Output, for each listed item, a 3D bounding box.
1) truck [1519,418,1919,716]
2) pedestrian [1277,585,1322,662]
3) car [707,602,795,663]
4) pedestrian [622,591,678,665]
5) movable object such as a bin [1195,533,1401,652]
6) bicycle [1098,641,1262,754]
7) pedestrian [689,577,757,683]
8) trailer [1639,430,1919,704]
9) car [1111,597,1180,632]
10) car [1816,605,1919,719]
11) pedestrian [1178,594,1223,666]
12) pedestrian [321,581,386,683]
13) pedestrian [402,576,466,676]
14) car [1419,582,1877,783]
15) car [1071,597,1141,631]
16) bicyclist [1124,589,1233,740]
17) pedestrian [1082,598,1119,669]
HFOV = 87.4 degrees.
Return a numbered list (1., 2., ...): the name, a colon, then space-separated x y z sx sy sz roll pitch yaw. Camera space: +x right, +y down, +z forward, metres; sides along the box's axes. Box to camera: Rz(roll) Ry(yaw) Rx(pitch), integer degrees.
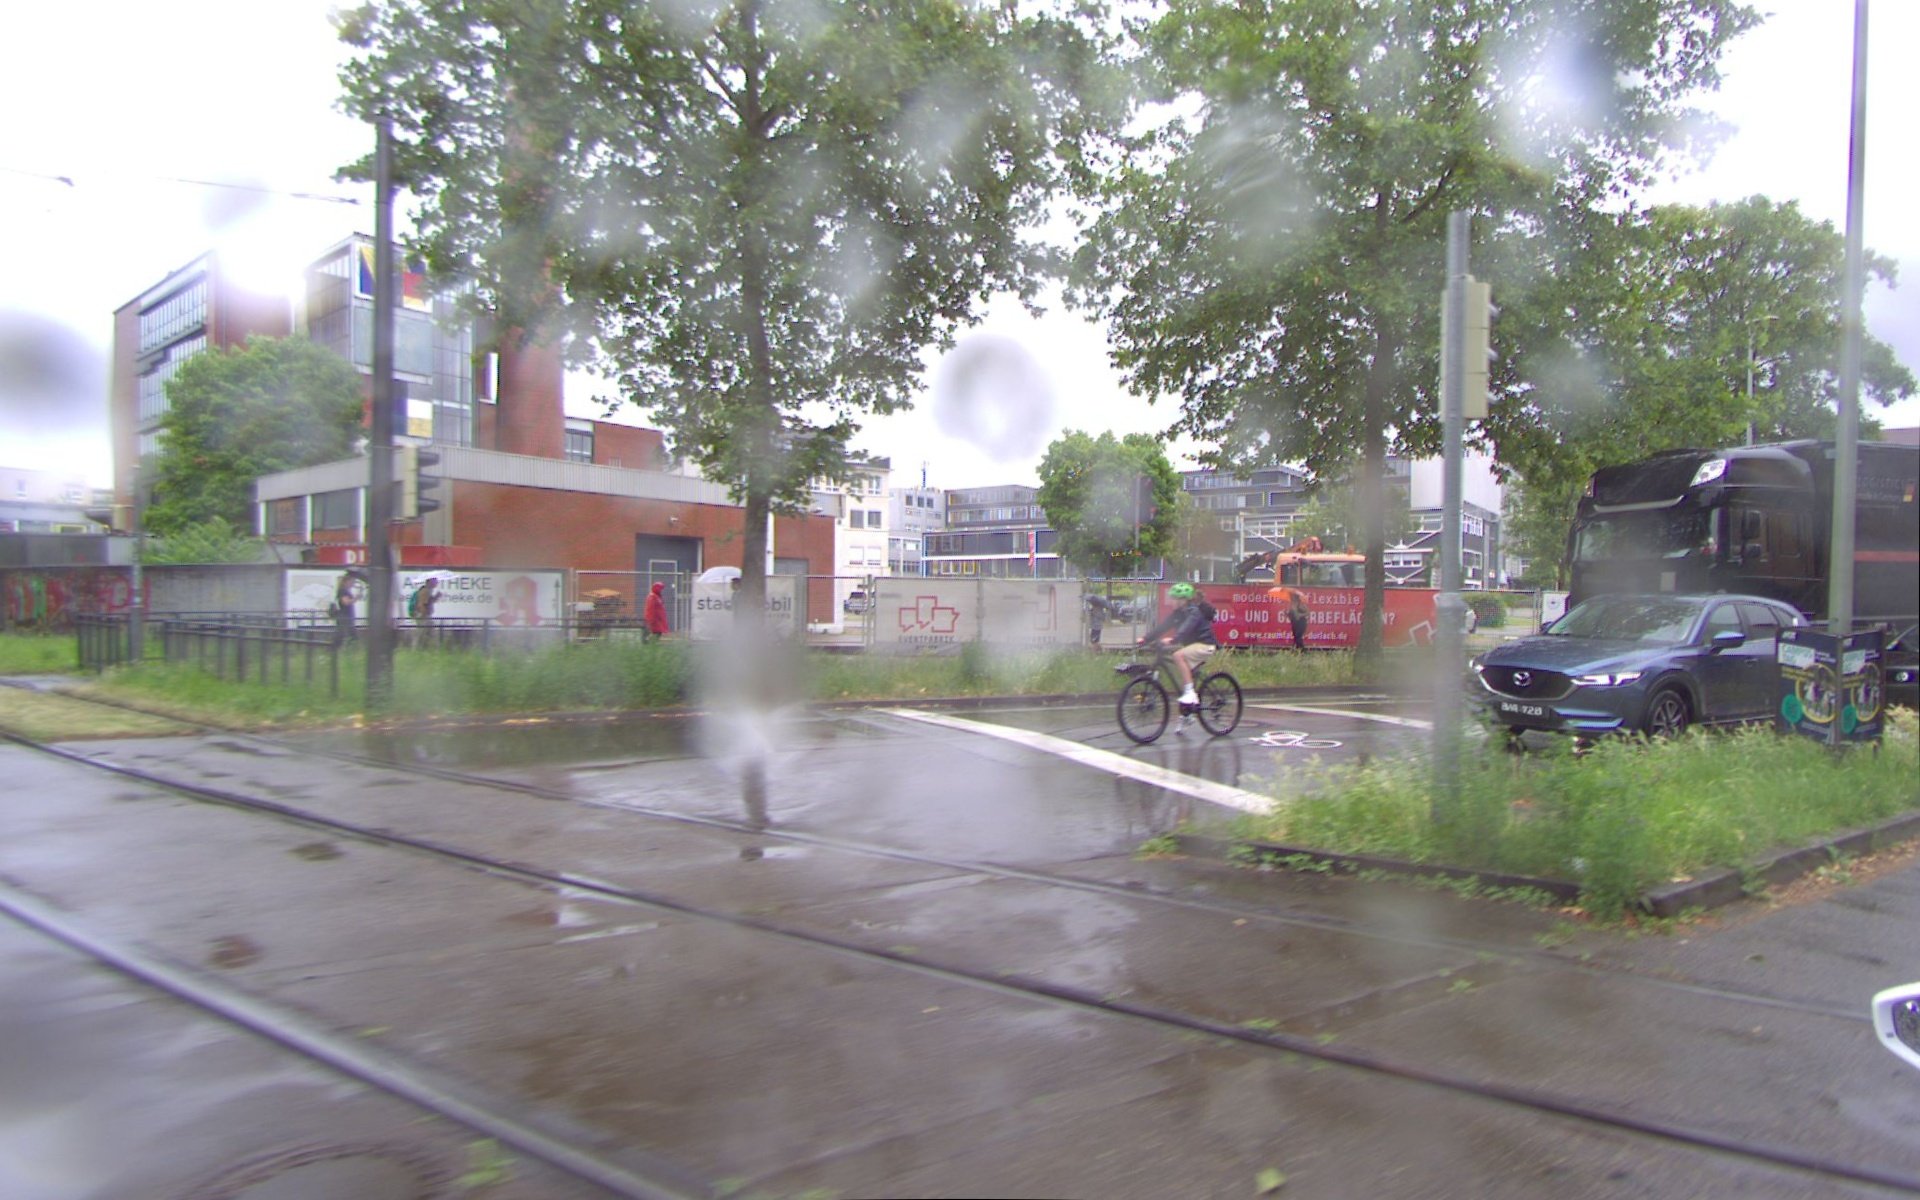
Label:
1. truck: 13.385 -0.470 16.803 6.869 4.133 3.445 0 1 -21
2. pedestrian: 7.572 0.508 22.398 0.891 1.671 0.753 0 0 24
3. car: -5.117 0.759 25.000 1.809 1.339 3.661 0 1 -6
4. pedestrian: -6.582 0.588 21.348 0.817 1.524 0.844 -1 0 42
5. movable object such as a bin: 9.320 -0.215 28.653 2.725 2.970 6.766 0 0 -10
6. bicycle: 2.307 0.966 10.421 1.855 1.038 0.528 0 0 -34
7. pedestrian: -4.567 0.555 19.406 1.192 1.991 0.911 0 1 -9
8. trailer: 19.834 -0.488 19.240 14.823 4.103 3.437 0 0 -21
9. car: 9.830 0.711 53.110 1.967 1.760 4.407 0 1 35
10. car: 13.727 0.780 13.609 4.042 1.391 1.694 0 0 -24
11. pedestrian: 5.418 0.672 22.641 0.863 1.602 0.643 0 0 2
12. pedestrian: -11.662 0.599 19.305 0.942 1.887 0.844 -1 0 42
13. pedestrian: -10.307 0.501 19.696 0.942 1.887 0.844 -1 0 42
14. car: 7.632 0.710 11.108 4.865 1.705 2.066 -1 3 -27
15. car: 7.999 0.705 54.702 1.967 1.760 4.572 0 1 35
16. bicyclist: 2.269 0.637 10.408 1.000 1.480 0.576 0 0 -34
17. pedestrian: 3.076 0.737 22.047 0.756 1.535 0.643 0 0 2
